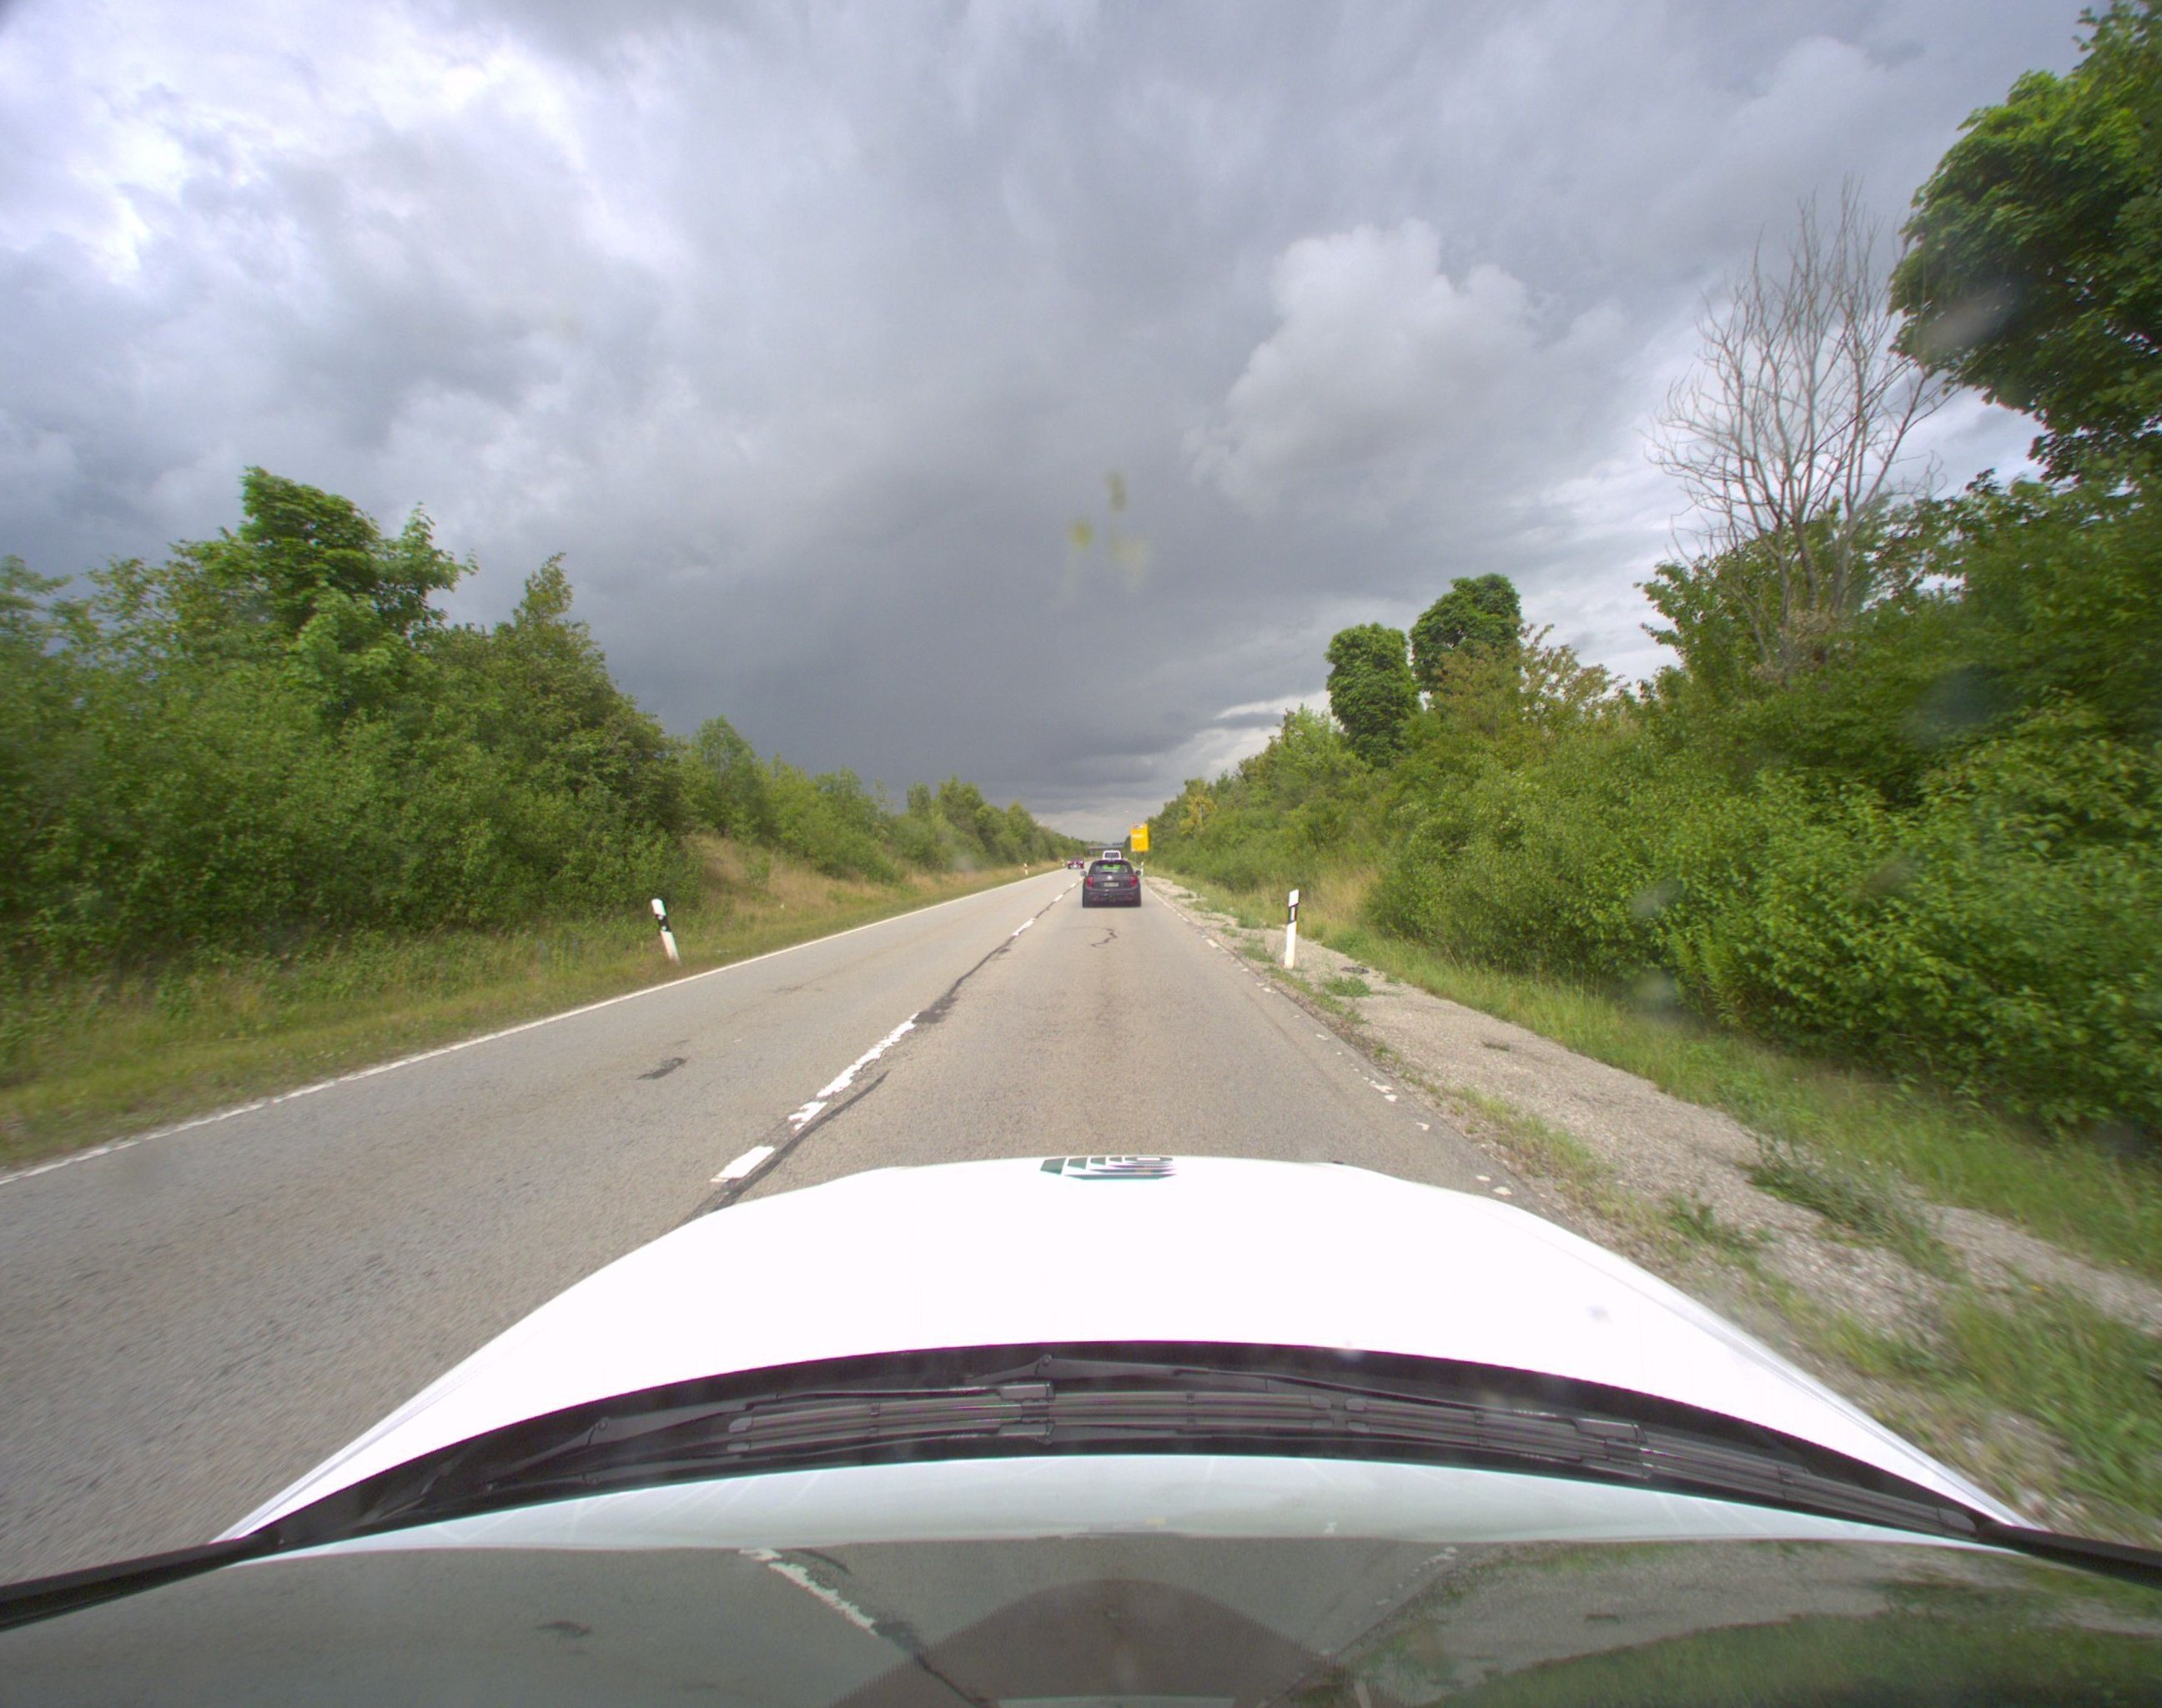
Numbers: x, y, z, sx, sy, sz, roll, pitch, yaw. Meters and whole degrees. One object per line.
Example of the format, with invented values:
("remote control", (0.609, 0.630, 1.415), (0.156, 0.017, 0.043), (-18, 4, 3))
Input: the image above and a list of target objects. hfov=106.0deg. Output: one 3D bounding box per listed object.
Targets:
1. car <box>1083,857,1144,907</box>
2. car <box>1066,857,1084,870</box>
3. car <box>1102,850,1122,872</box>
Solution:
("car", (0.997, 0.811, 25.372), (1.750, 1.427, 4.001), (0, 0, 2))
("car", (-0.696, 1.058, 95.329), (1.822, 1.465, 4.413), (-1, 0, 2))
("car", (2.951, 0.666, 77.283), (1.812, 2.054, 4.001), (0, 0, 2))
